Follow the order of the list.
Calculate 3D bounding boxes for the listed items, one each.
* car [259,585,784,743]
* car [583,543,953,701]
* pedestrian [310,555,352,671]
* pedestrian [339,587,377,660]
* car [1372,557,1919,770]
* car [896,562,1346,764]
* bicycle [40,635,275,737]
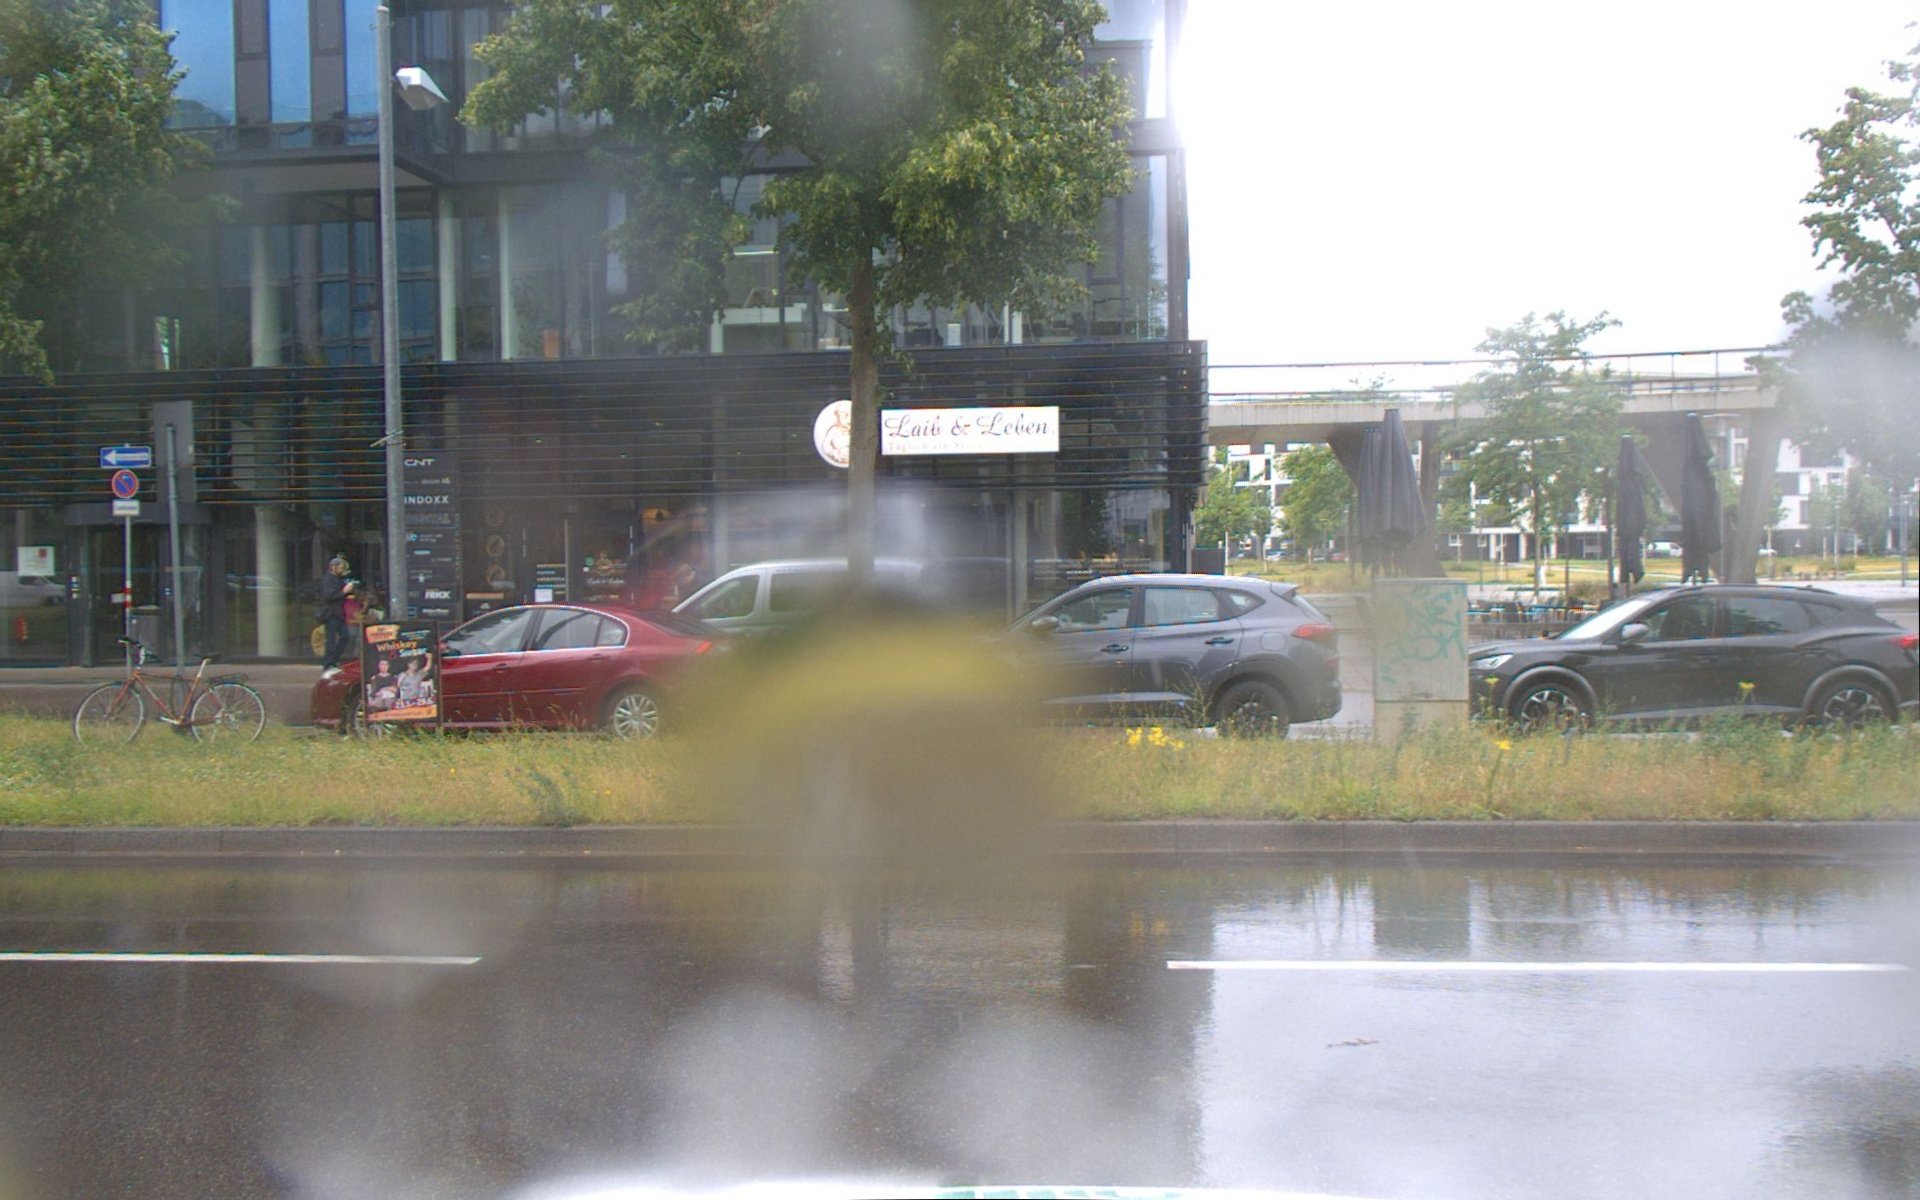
[{"bbox_3d":[-4.434,0.609,17.115,4.837,1.480,2.002,0,1,8],"label":"car"},{"bbox_3d":[-2.498,0.249,22.207,4.609,1.898,1.901,2,1,5],"label":"car"},{"bbox_3d":[-10.236,0.209,26.908,0.568,1.864,0.503,1,1,-28],"label":"pedestrian"},{"bbox_3d":[-10.673,0.417,29.320,0.445,1.258,0.573,0,2,-40],"label":"pedestrian"},{"bbox_3d":[6.393,0.526,15.634,4.608,1.737,2.002,2,1,7],"label":"car"},{"bbox_3d":[1.585,0.545,16.312,4.114,1.737,2.002,2,1,7],"label":"car"},{"bbox_3d":[-7.489,0.800,15.491,1.872,0.877,0.573,1,1,-8],"label":"bicycle"}]
